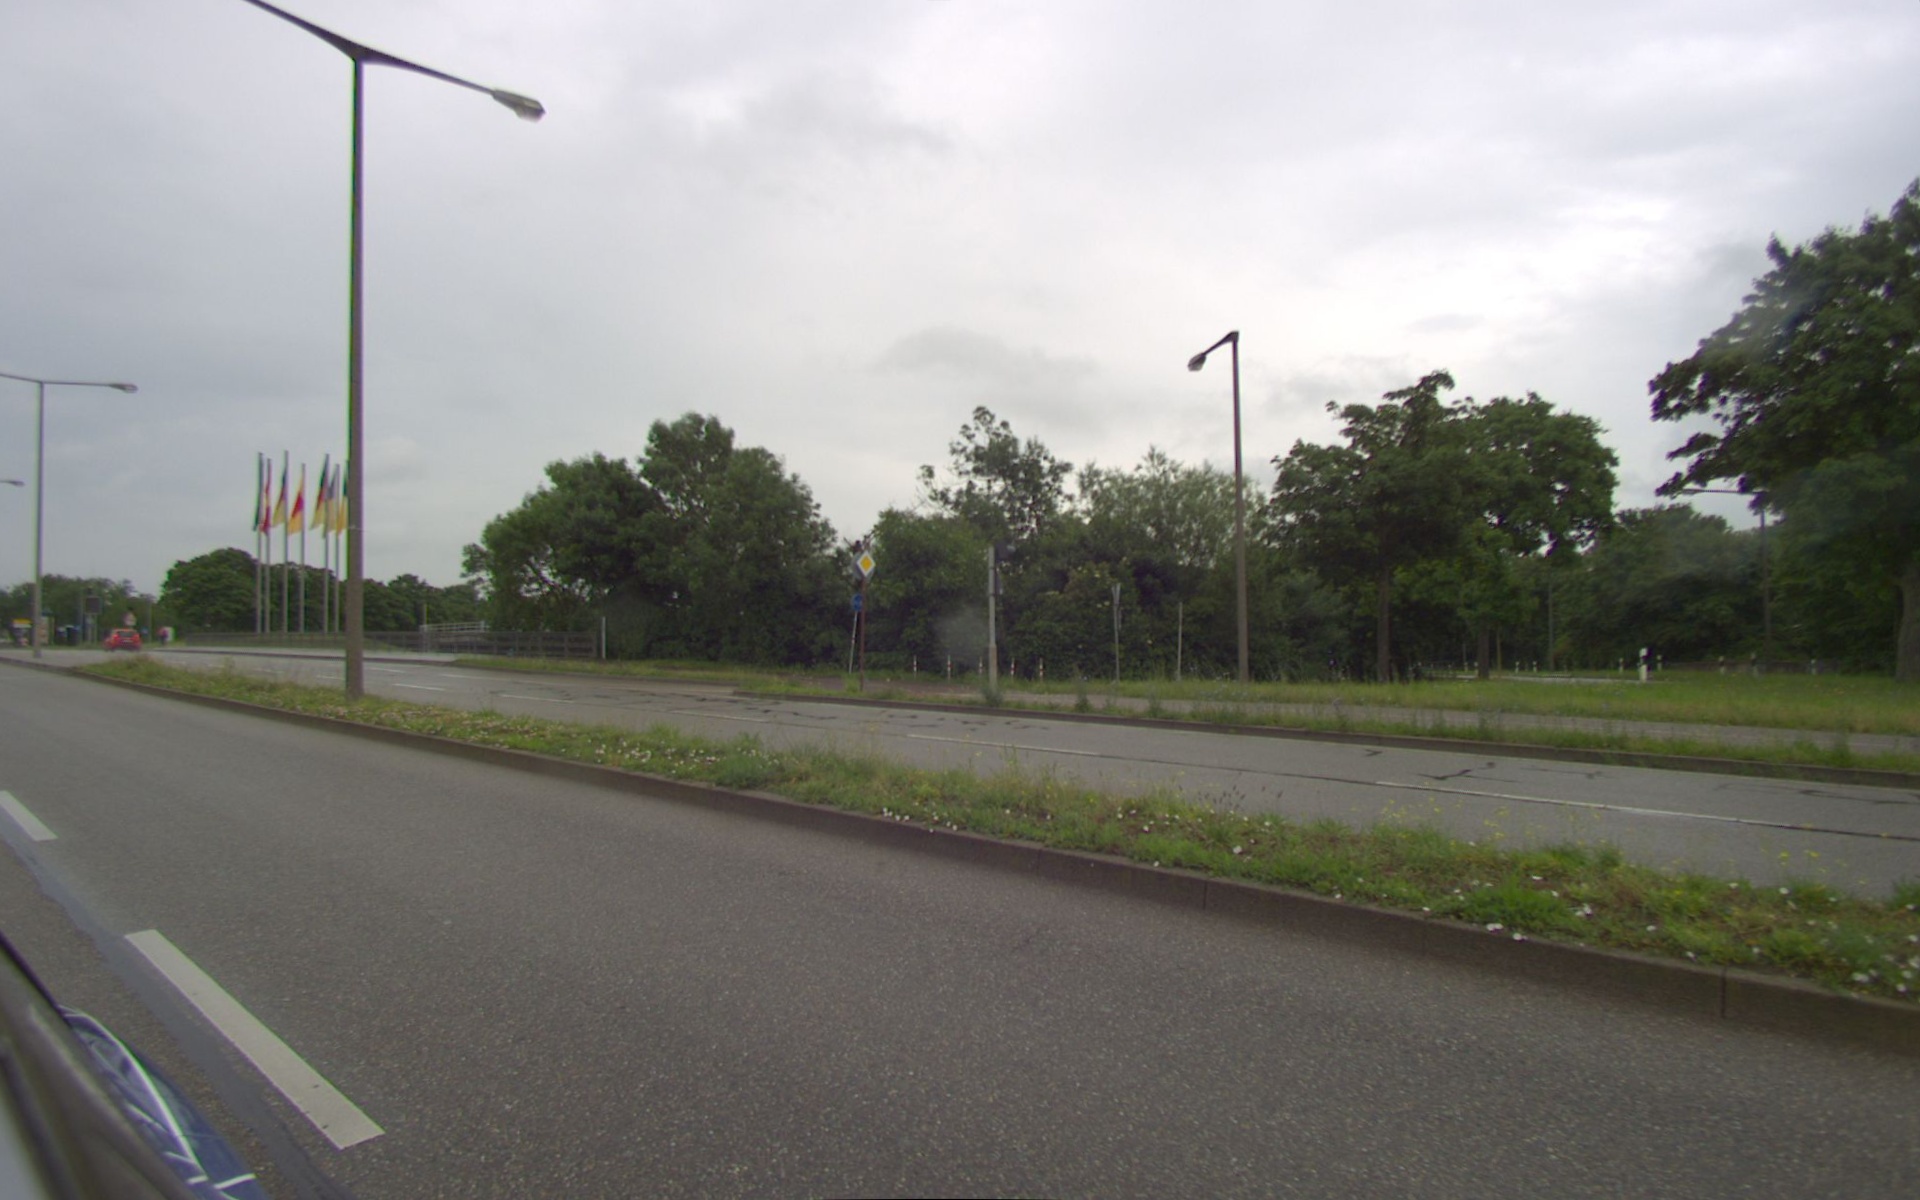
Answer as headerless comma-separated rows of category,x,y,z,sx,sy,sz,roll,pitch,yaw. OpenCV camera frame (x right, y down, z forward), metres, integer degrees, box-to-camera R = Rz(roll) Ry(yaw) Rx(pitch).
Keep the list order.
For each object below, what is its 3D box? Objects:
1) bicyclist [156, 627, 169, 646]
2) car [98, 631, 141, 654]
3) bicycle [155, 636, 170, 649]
bicyclist,-64.550,2.982,81.892,1.002,1.511,0.613,-2,0,41
car,-56.981,2.878,68.580,3.555,1.459,1.643,-1,-4,41
bicycle,-64.536,3.426,81.888,2.000,1.041,0.603,-1,0,41
